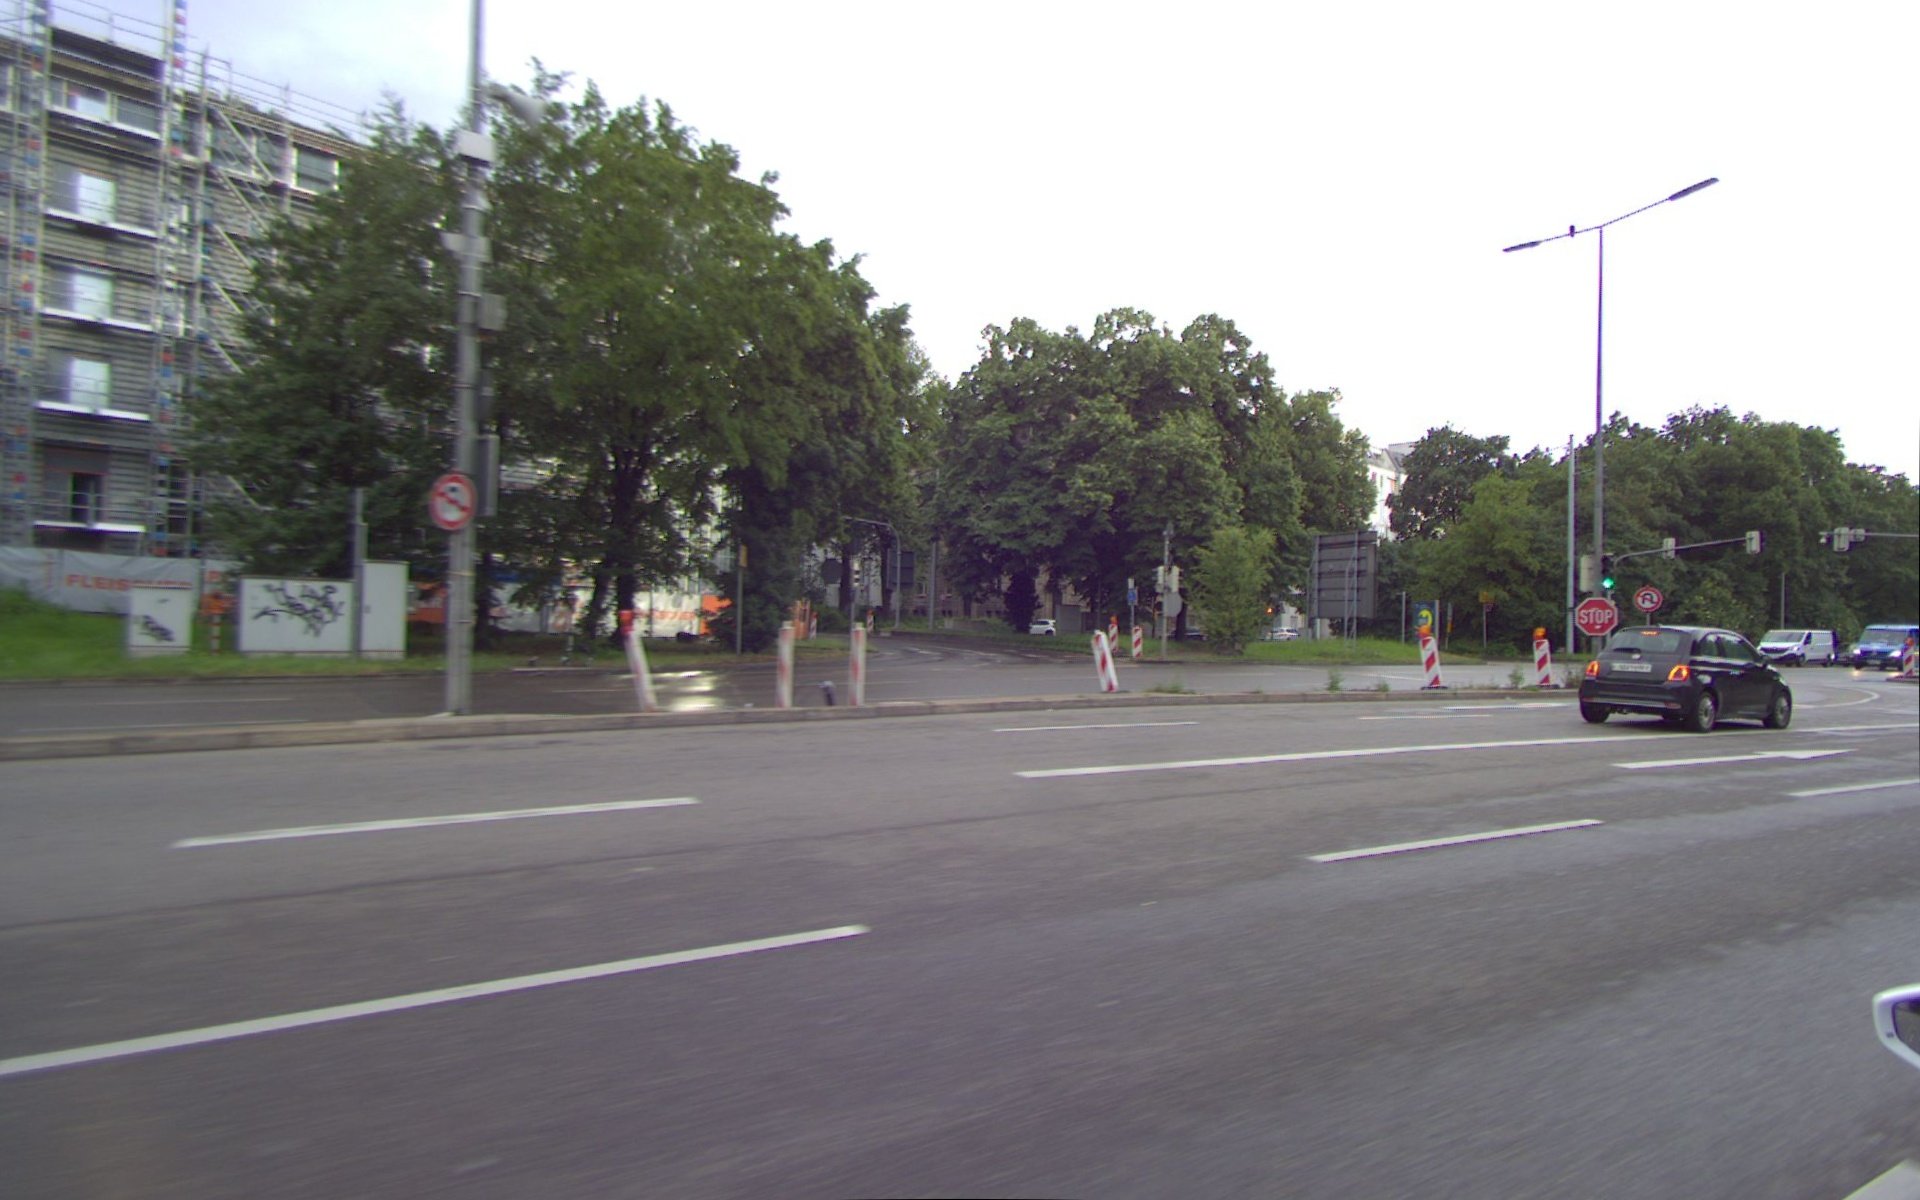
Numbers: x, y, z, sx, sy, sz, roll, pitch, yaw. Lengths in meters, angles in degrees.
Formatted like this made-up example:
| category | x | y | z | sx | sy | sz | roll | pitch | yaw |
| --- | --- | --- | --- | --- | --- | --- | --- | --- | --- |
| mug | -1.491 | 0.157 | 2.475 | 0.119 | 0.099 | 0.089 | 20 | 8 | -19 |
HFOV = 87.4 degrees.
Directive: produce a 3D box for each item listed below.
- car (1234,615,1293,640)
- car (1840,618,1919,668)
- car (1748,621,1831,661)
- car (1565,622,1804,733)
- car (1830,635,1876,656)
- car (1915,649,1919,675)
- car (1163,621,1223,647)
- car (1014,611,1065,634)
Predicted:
| category | x | y | z | sx | sy | sz | roll | pitch | yaw |
| --- | --- | --- | --- | --- | --- | --- | --- | --- | --- |
| car | 23.813 | 2.141 | 78.874 | 3.945 | 1.818 | 1.902 | 2 | 1 | 44 |
| car | 48.210 | 2.182 | 52.182 | 6.176 | 2.422 | 2.182 | 1 | 0 | -33 |
| car | 44.047 | 2.155 | 53.320 | 4.936 | 2.000 | 2.023 | 1 | 0 | -33 |
| car | 10.901 | 1.112 | 15.081 | 3.461 | 1.460 | 1.580 | 2 | -1 | -29 |
| car | 50.534 | 2.551 | 56.849 | 2.762 | 1.100 | 1.263 | 1 | 0 | -33 |
| car | 47.136 | 2.984 | 48.086 | 4.607 | 1.216 | 1.536 | 2 | -2 | -39 |
| car | 15.293 | 2.216 | 65.991 | 1.864 | 1.679 | 3.460 | 2 | -2 | -42 |
| car | 6.082 | 1.728 | 77.217 | 1.754 | 1.639 | 3.701 | 1 | 1 | -40 |
